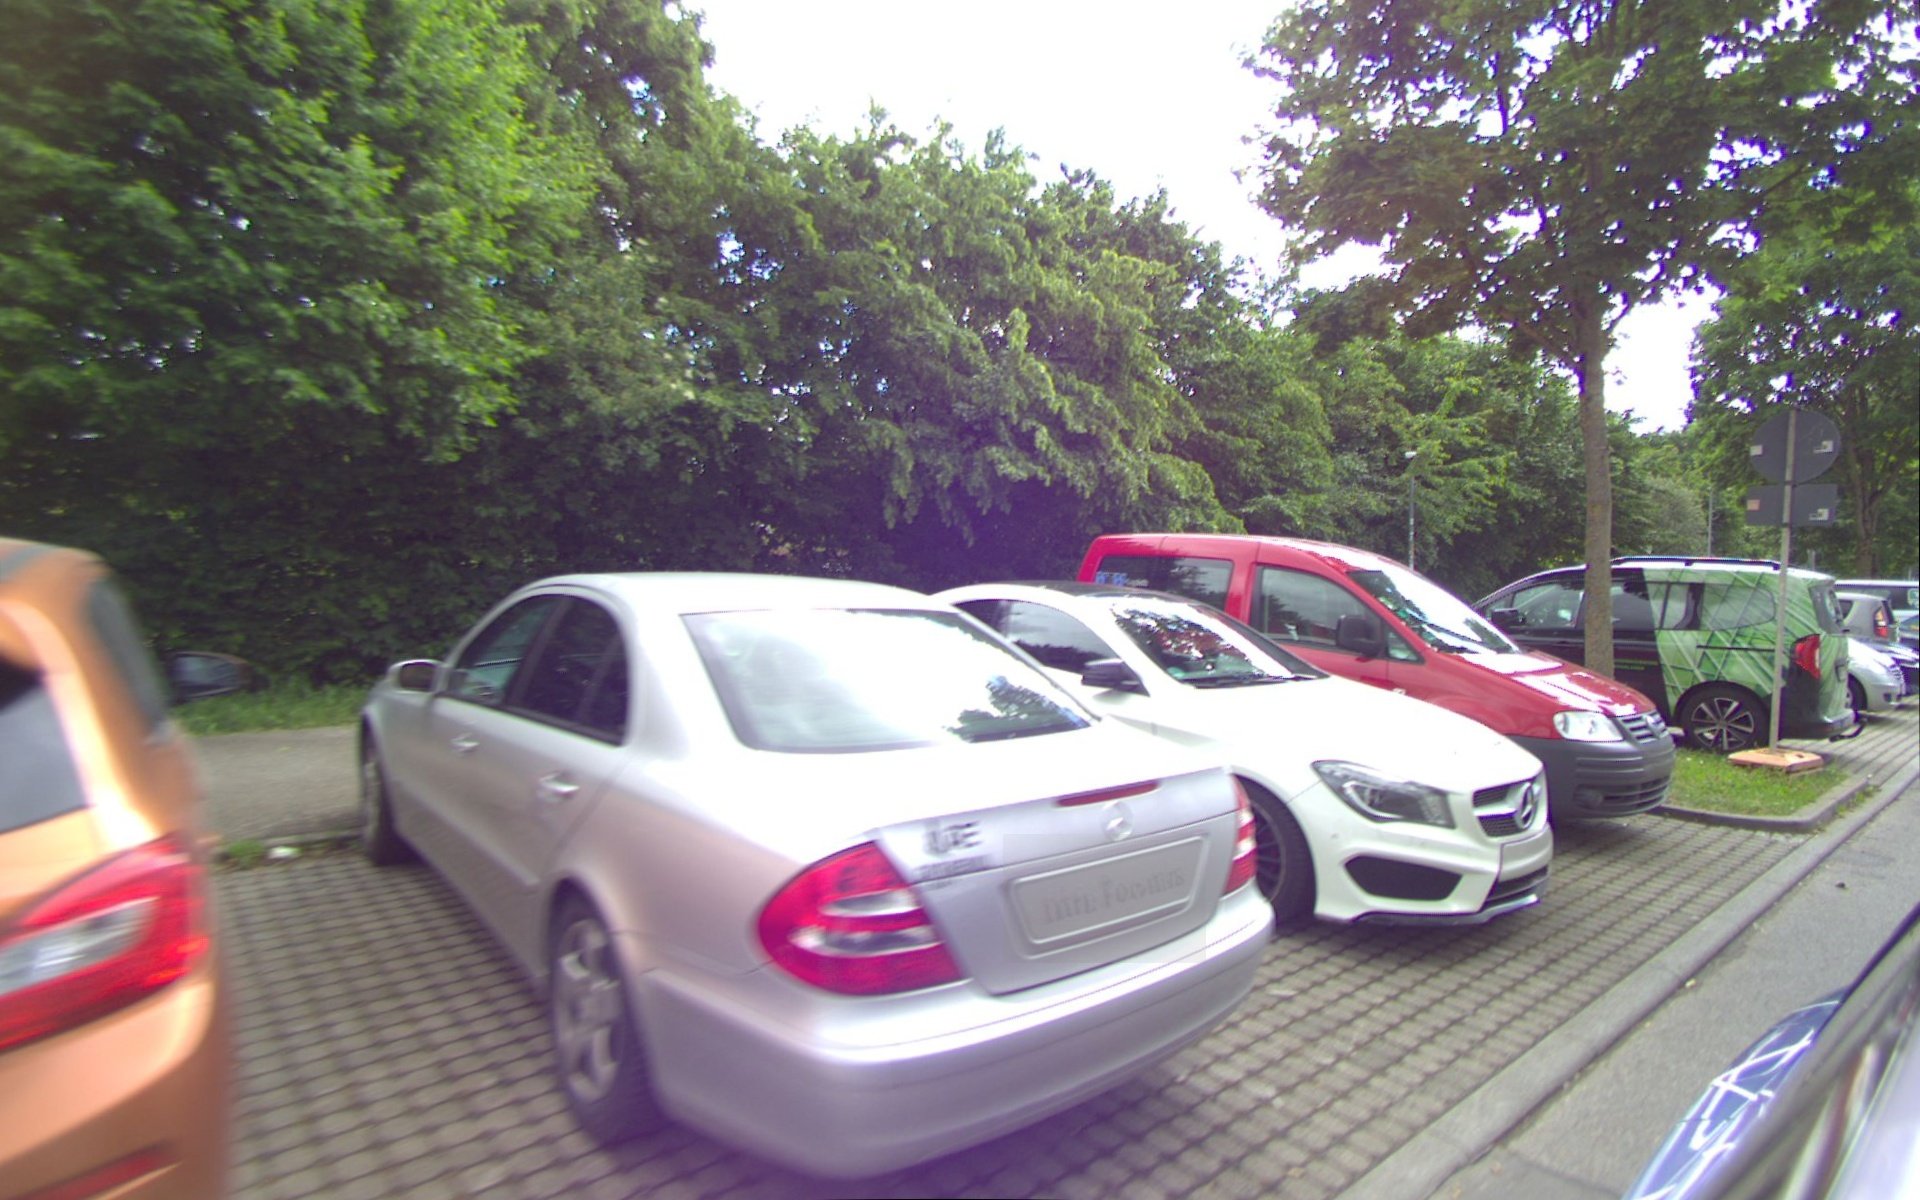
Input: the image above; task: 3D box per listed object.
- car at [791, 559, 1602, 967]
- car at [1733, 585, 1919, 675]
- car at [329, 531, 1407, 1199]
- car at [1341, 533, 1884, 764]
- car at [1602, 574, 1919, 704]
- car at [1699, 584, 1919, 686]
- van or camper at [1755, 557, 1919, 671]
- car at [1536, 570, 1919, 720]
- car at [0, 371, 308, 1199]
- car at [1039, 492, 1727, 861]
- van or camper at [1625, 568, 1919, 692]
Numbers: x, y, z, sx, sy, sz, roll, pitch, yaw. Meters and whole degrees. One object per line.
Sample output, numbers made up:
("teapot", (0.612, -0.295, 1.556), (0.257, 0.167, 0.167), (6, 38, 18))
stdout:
("car", (0.971, 0.524, 5.850), (1.806, 1.426, 4.287), (0, 2, -42))
("car", (18.305, 0.552, 20.452), (2.071, 1.622, 3.974), (-3, 3, -42))
("car", (-0.898, 0.524, 3.917), (1.910, 1.453, 4.404), (0, 2, -42))
("car", (6.768, 0.304, 10.955), (1.852, 1.922, 4.558), (0, 3, -42))
("car", (12.462, 0.541, 15.622), (1.852, 1.754, 3.973), (0, -1, -42))
("car", (16.392, 0.608, 18.821), (1.852, 1.754, 3.973), (0, -1, -42))
("van or camper", (19.971, 0.301, 21.991), (1.852, 2.349, 3.973), (0, -1, -42))
("car", (10.428, 0.545, 13.934), (1.852, 1.754, 3.973), (0, -1, -42))
("car", (-2.861, 0.440, 2.556), (1.646, 1.611, 4.159), (0, 2, -38))
("car", (2.779, 0.310, 7.458), (1.806, 1.916, 4.287), (0, 2, -42))
("van or camper", (14.104, 0.483, 17.566), (1.699, 1.897, 3.973), (0, -1, -42))
